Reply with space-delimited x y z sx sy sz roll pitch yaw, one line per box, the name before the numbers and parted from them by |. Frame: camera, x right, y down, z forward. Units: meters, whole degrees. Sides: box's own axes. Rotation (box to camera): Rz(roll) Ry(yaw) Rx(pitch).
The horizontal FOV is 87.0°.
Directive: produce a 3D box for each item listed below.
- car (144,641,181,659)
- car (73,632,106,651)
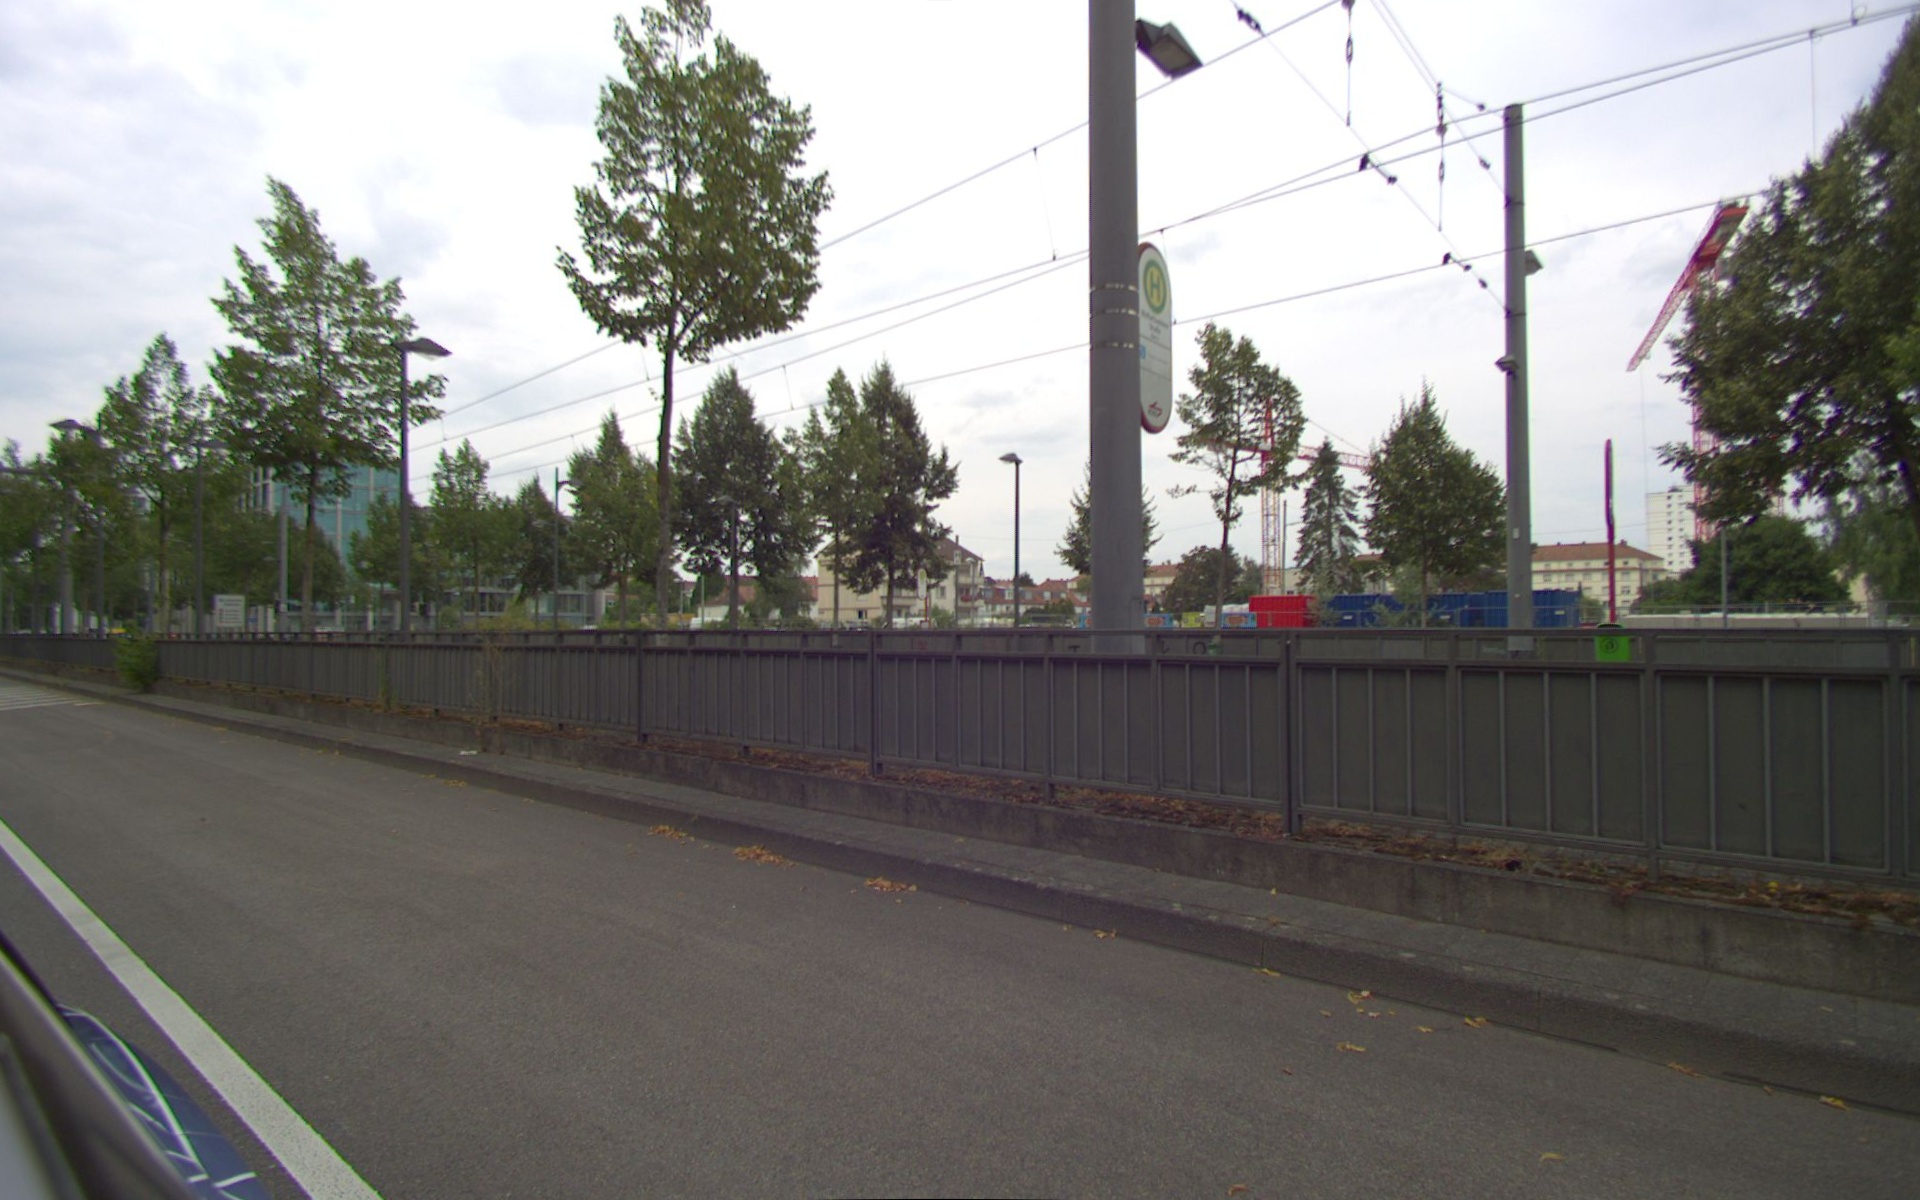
car | -76.381 4.789 96.883 4.687 1.669 1.809 -2 -3 39
car | -92.934 4.377 108.052 5.093 1.959 1.973 -2 -2 41
